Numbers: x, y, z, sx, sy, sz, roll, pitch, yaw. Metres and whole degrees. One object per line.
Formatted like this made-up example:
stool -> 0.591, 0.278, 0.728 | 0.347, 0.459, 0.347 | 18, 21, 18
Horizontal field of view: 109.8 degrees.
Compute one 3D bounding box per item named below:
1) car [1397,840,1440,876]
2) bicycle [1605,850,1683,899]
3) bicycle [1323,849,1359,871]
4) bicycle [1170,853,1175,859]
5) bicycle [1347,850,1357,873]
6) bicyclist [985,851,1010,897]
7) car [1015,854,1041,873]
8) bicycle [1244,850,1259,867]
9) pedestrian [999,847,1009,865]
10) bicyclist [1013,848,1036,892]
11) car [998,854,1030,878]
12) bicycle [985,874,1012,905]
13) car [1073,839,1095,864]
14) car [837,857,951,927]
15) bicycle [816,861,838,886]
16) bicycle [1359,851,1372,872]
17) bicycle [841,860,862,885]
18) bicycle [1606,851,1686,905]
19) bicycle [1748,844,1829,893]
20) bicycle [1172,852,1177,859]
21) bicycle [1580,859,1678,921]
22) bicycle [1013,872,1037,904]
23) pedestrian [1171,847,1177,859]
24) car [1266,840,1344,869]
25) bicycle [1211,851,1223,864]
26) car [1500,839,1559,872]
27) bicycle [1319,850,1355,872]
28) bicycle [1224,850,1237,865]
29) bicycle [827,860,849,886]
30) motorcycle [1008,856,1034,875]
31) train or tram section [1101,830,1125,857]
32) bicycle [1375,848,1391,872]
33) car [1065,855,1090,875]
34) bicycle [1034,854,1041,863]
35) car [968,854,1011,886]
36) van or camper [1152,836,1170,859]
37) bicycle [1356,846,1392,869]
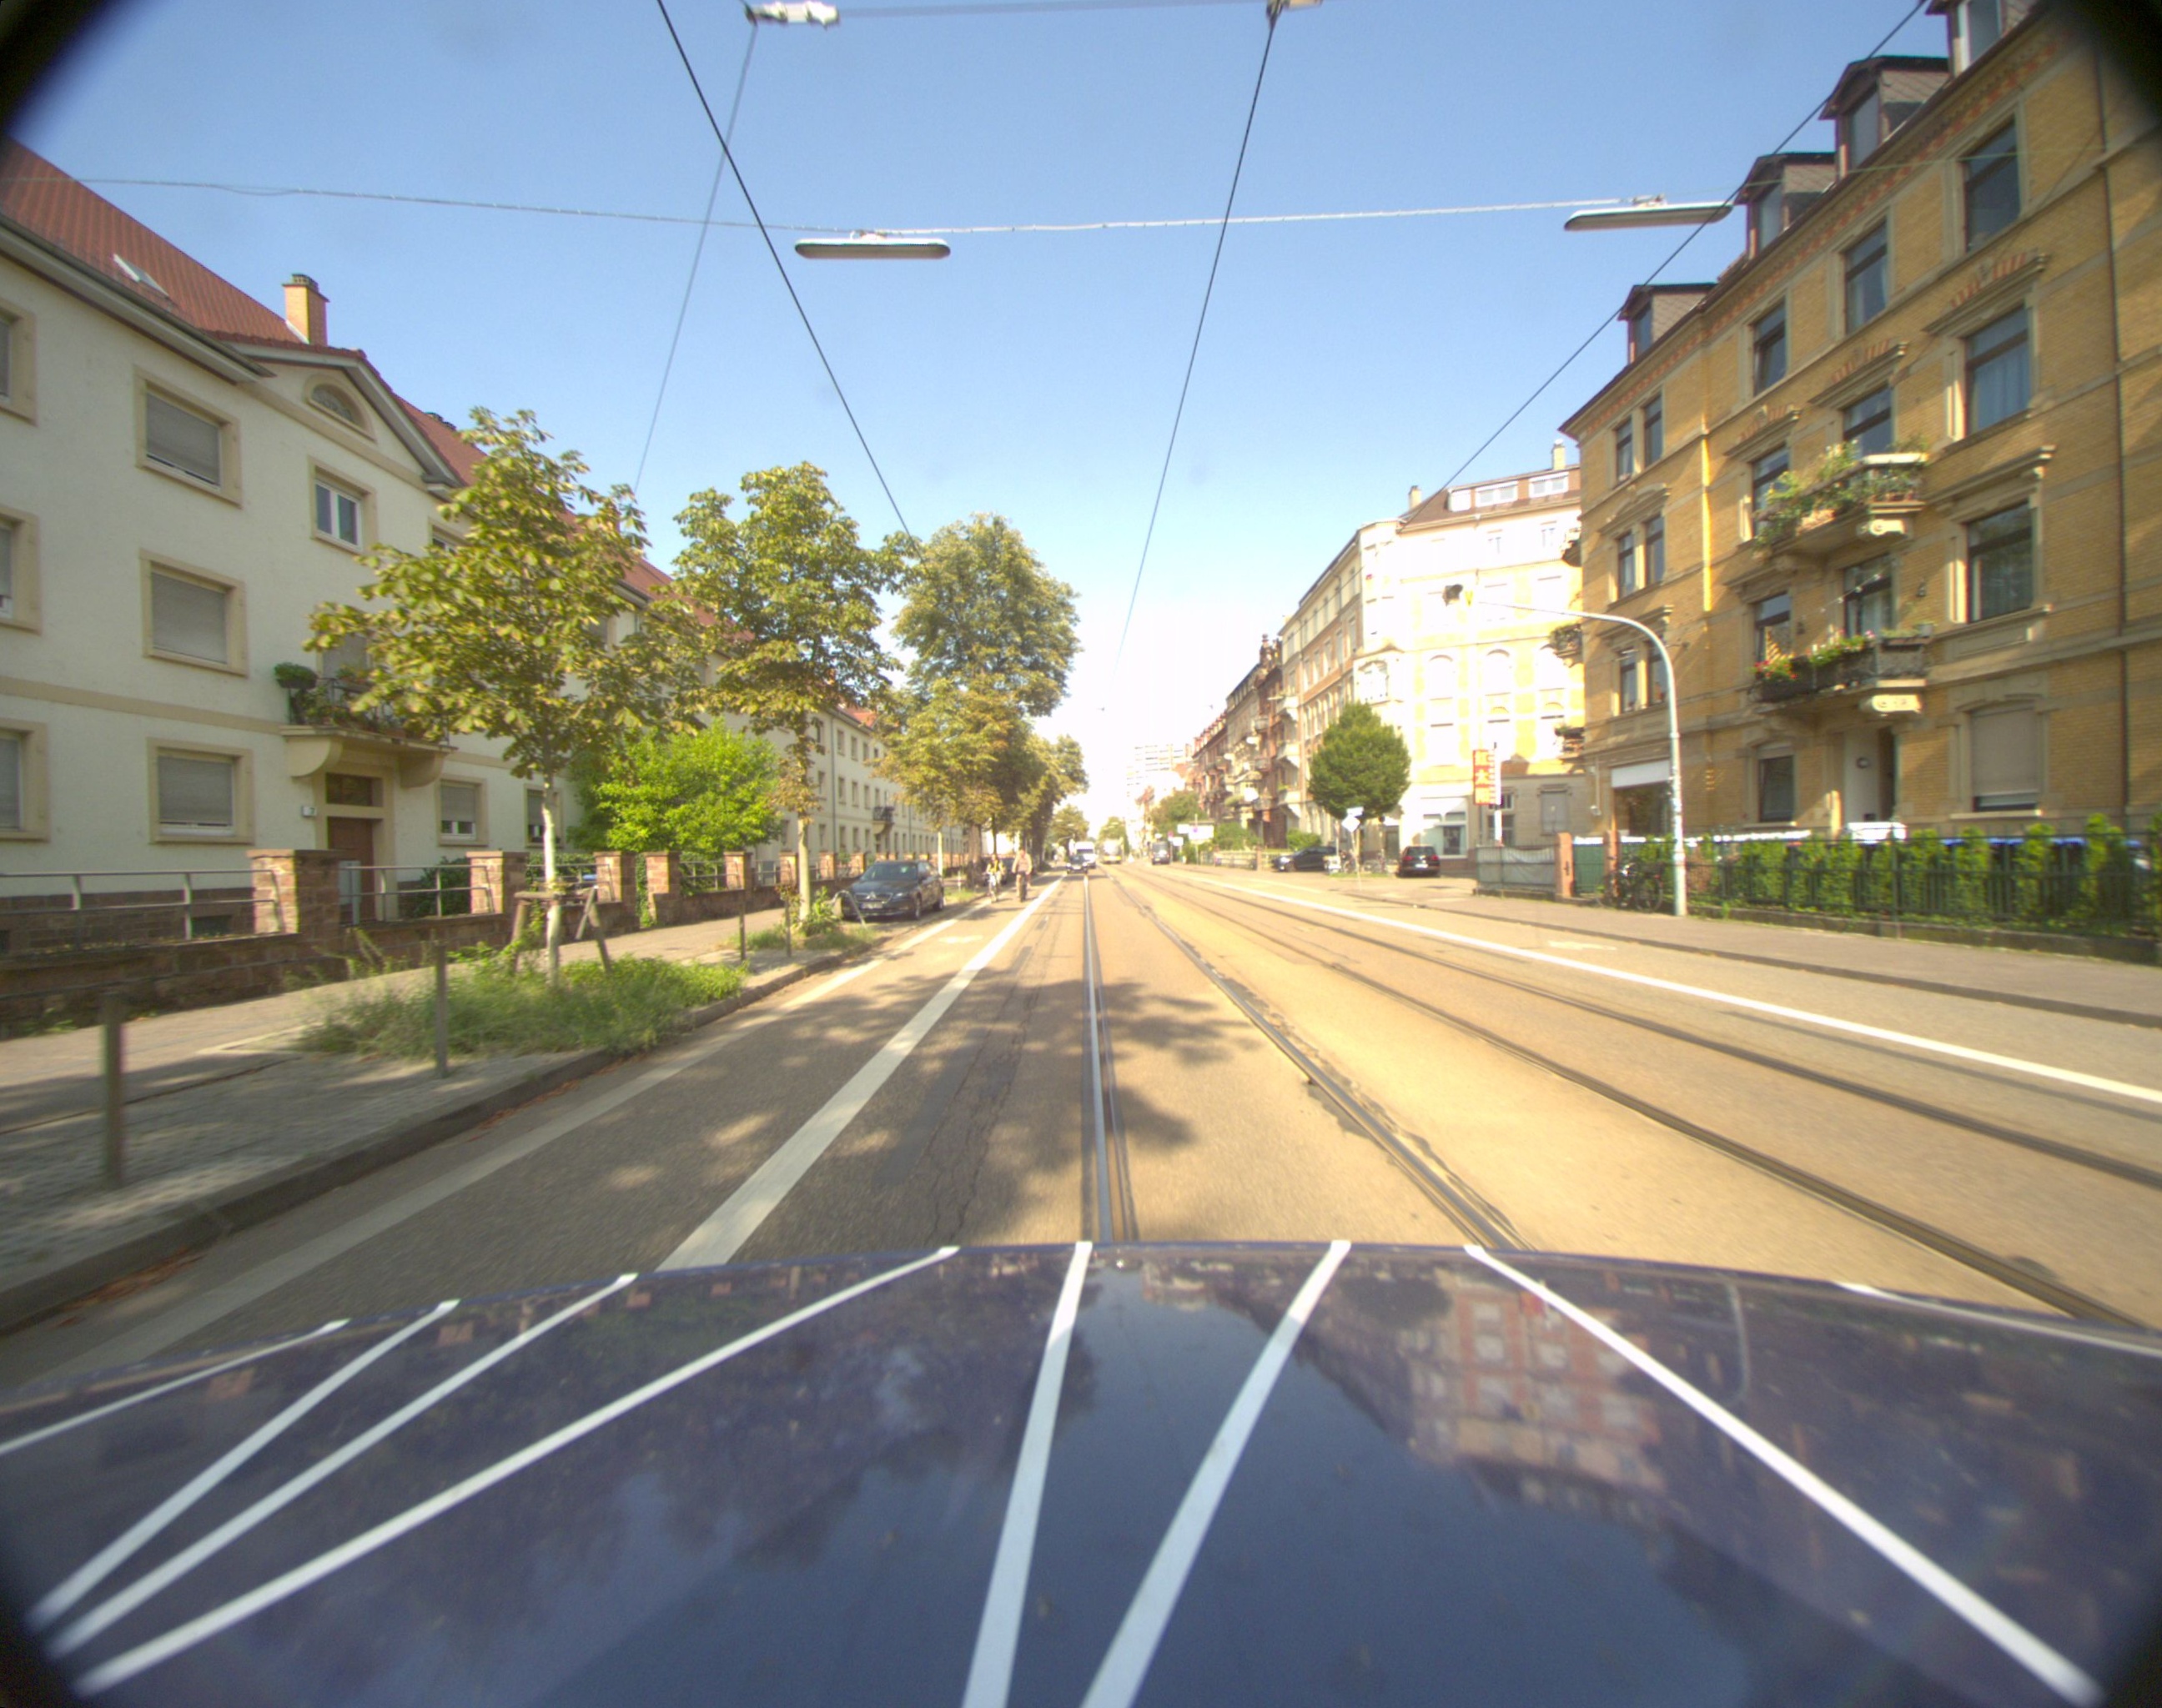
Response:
car -> 17.139, 0.172, 38.715 | 1.764, 1.651, 3.773 | -3, 1, 21
bicycle -> 12.787, 0.459, 17.269 | 1.487, 1.054, 0.417 | -1, 1, -2
bicycle -> 14.281, 0.314, 41.749 | 1.863, 1.174, 0.542 | -1, 1, -10
bicycle -> 12.866, 0.261, 106.481 | 0.527, 0.855, 1.703 | -2, 0, 3
bicycle -> 14.407, 0.381, 40.326 | 0.482, 1.153, 1.775 | -1, 1, 20
bicyclist -> -2.758, 0.653, 25.096 | 0.656, 1.465, 0.908 | -3, 1, 0
car -> -4.149, 0.704, 60.038 | 1.649, 1.440, 4.245 | 0, 1, 1
bicycle -> 11.225, 0.308, 50.127 | 0.546, 1.052, 1.839 | -5, 0, 2
pedestrian -> -7.553, 0.210, 74.607 | 0.754, 1.739, 0.878 | -2, 1, 7
bicyclist -> -1.844, 0.508, 24.843 | 0.628, 1.393, 0.929 | -3, 1, 0
car -> -4.327, 0.764, 49.475 | 1.694, 1.426, 4.336 | 1, 0, 0
bicycle -> -2.720, 1.144, 25.089 | 0.656, 0.903, 1.774 | -3, 1, 0
car -> 0.309, -0.224, 74.078 | 2.087, 2.264, 4.827 | -2, 0, 1
car -> -4.785, 0.904, 20.163 | 1.748, 1.552, 4.718 | -1, 1, 1
bicycle -> -11.027, 0.831, 33.009 | 0.417, 1.054, 1.488 | -1, 1, 1
bicycle -> 15.014, 0.372, 40.123 | 0.542, 1.083, 1.839 | -1, 1, 19
bicycle -> -9.917, 0.792, 32.864 | 0.417, 1.054, 1.488 | -1, 1, 1
bicycle -> 11.917, 0.497, 16.044 | 1.361, 1.054, 0.417 | -3, 1, -2
bicycle -> 16.052, 0.323, 17.256 | 1.487, 1.054, 0.417 | -1, 1, -2
bicycle -> 12.924, 0.238, 104.781 | 0.527, 0.922, 1.703 | -2, 0, 3
bicycle -> 10.778, 0.667, 15.025 | 0.509, 1.101, 2.003 | -1, 1, 1
bicycle -> -1.808, 1.098, 24.862 | 0.628, 0.903, 1.525 | -3, 1, 0
pedestrian -> 12.741, -0.171, 104.228 | 0.639, 1.668, 0.633 | -2, 0, -11
car -> 13.744, 0.007, 46.735 | 4.147, 1.534, 2.064 | -2, 1, 0
bicycle -> 11.282, 0.287, 63.086 | 0.608, 1.052, 1.839 | -5, 0, 2
car -> 22.096, 0.050, 37.581 | 1.764, 1.517, 3.773 | -1, 1, 19
bicycle -> 14.208, 0.376, 42.193 | 1.853, 1.190, 0.542 | -1, 1, -10
bicycle -> 11.256, 0.272, 57.152 | 0.546, 1.052, 1.839 | -5, 0, 2
bicycle -> -10.564, 0.825, 33.032 | 0.417, 1.054, 1.488 | -1, 1, 1
motorcycle -> -4.423, 0.840, 56.167 | 1.859, 1.281, 0.705 | 2, -4, -3
train or tram section -> 4.525, -1.451, 108.744 | 2.741, 3.485, 10.774 | -2, 0, 0
bicycle -> 15.879, 0.309, 39.938 | 0.542, 1.222, 1.775 | -1, 1, 14
car -> -0.244, 0.845, 59.427 | 1.775, 1.459, 4.001 | -3, 0, 2
bicycle -> -5.217, 0.516, 91.927 | 0.774, 1.097, 2.333 | -2, 0, -2
car -> -4.618, 0.756, 38.831 | 1.694, 1.493, 4.095 | 1, 1, 0
van or camper -> 9.585, -0.793, 90.797 | 2.054, 2.629, 6.092 | -1, 1, 7
bicycle -> 16.145, 0.198, 41.857 | 1.770, 1.250, 0.544 | -1, 1, 14
